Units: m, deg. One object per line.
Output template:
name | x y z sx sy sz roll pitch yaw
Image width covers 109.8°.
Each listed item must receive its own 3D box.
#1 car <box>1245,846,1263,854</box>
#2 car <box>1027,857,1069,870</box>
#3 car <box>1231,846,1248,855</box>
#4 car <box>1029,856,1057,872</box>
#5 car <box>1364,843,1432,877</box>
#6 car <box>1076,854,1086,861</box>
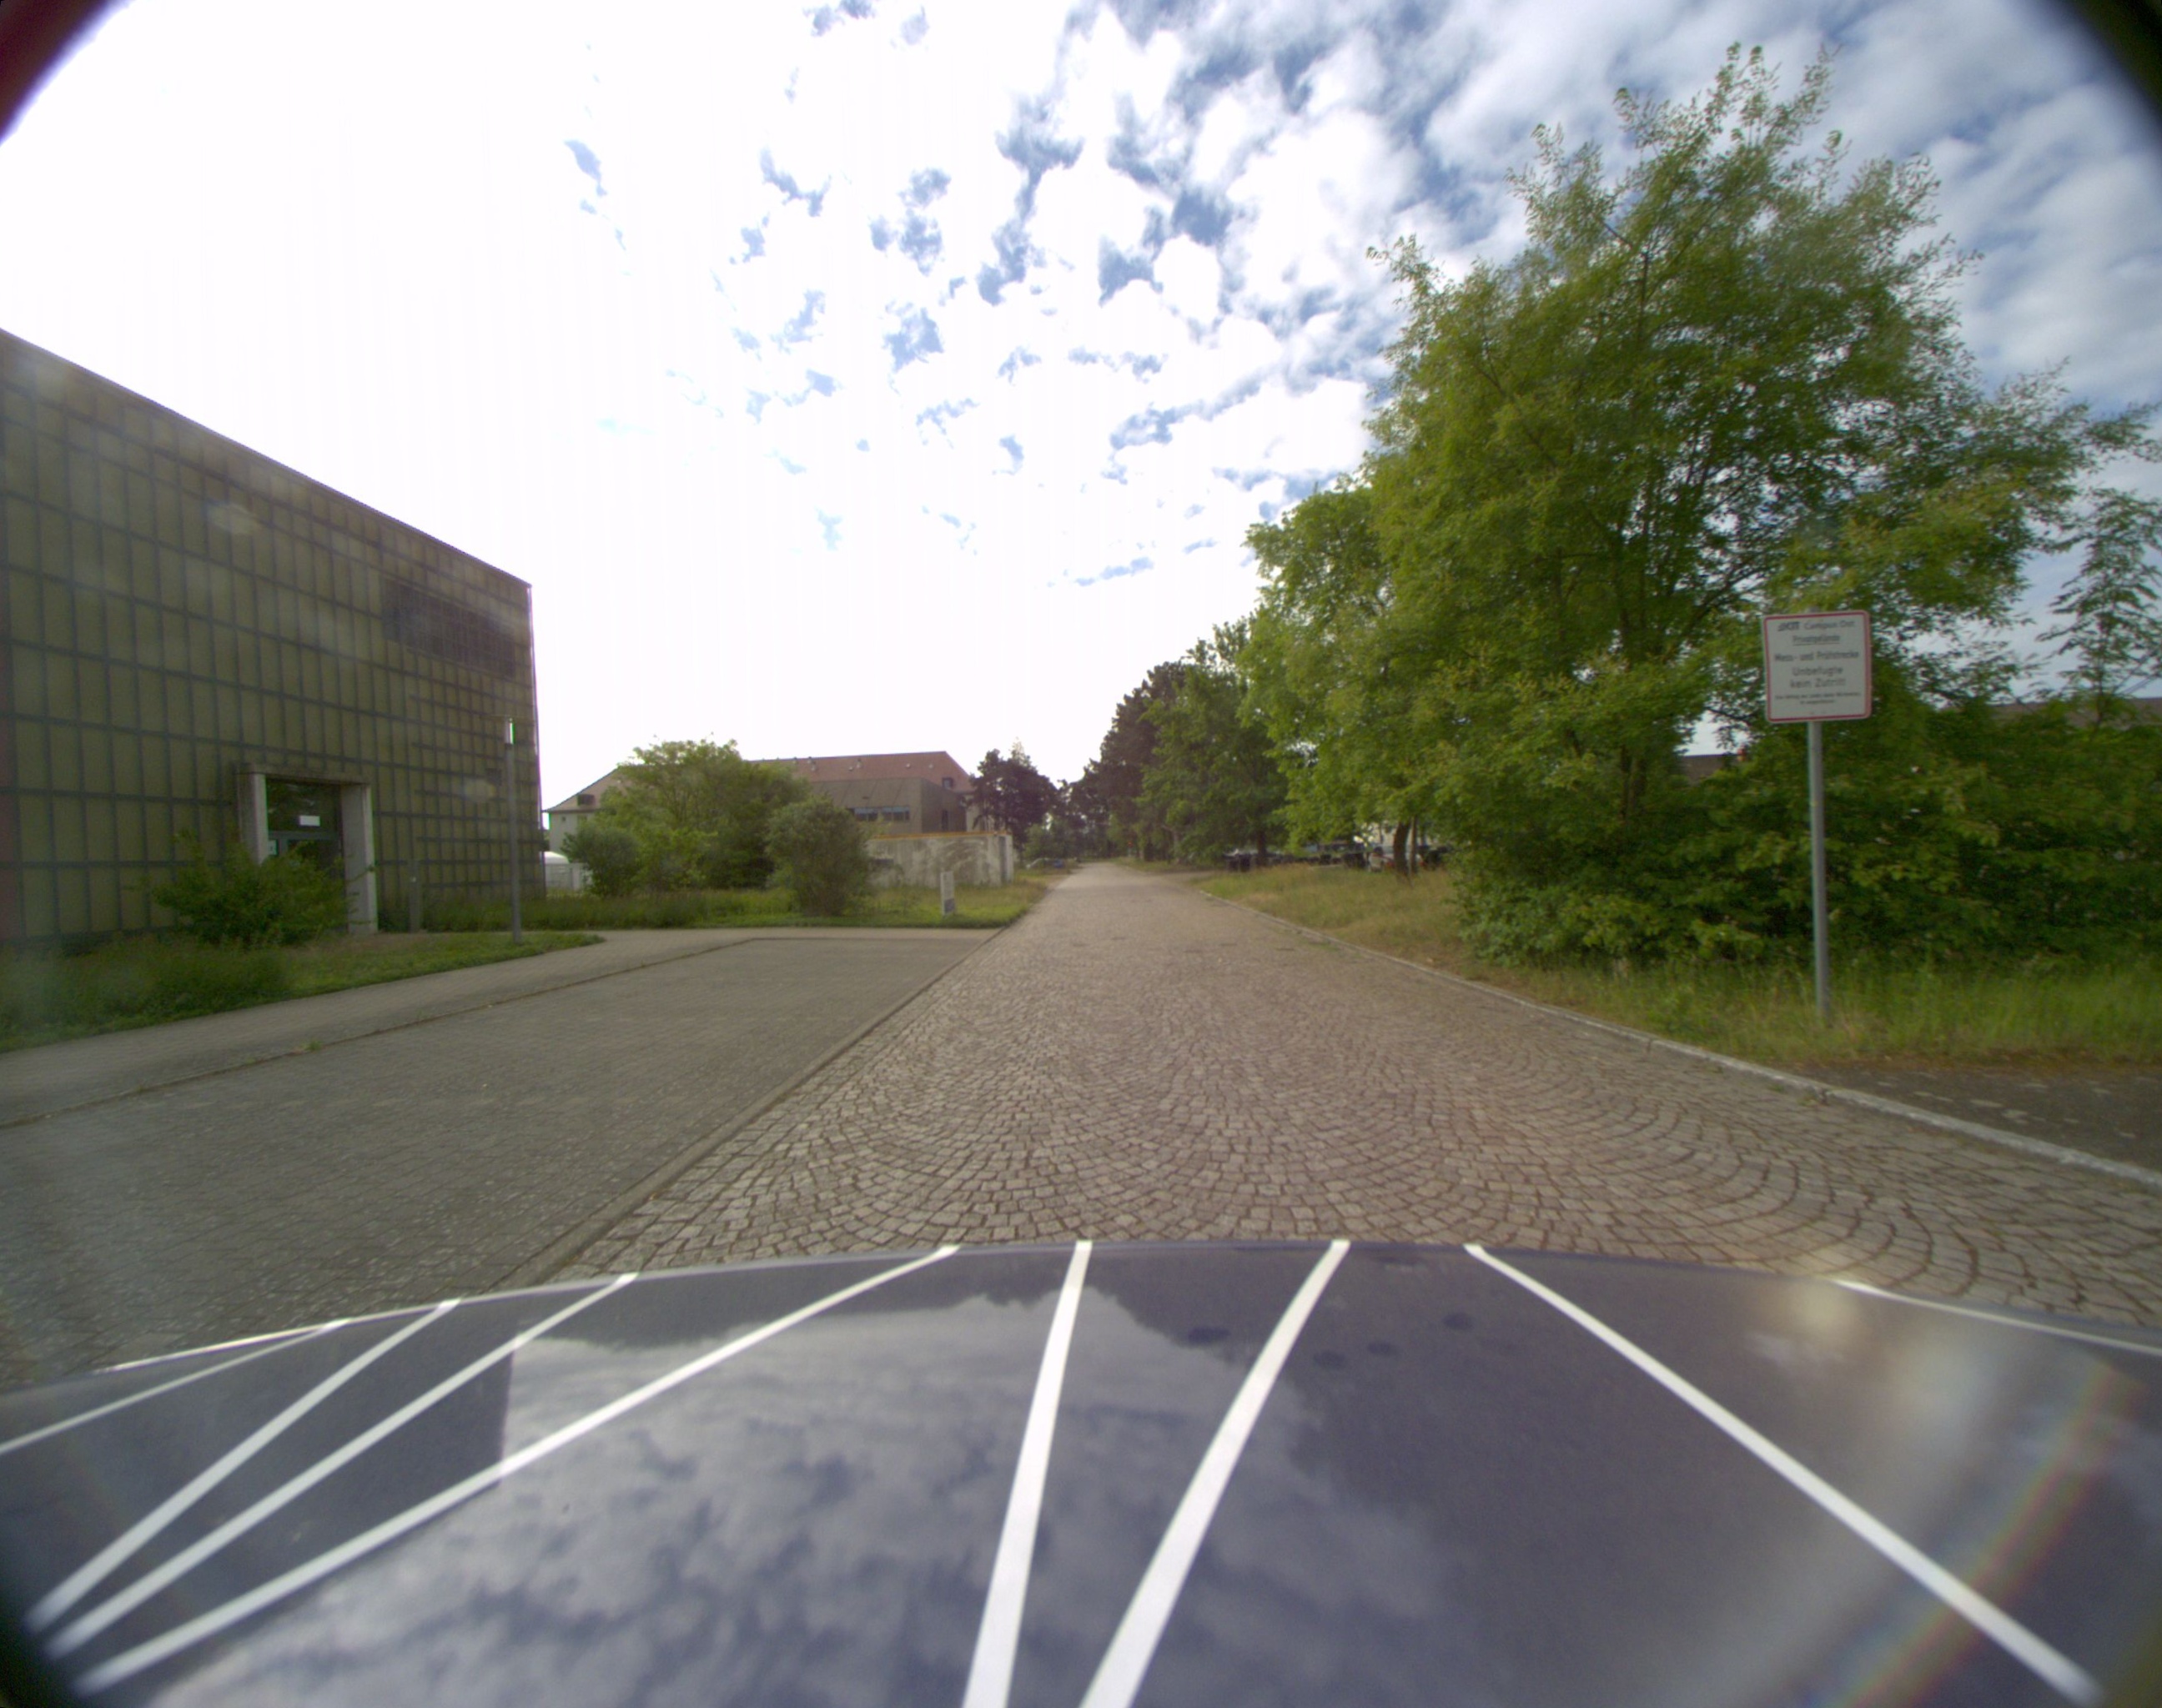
car | 31.014 -0.699 136.486 1.999 1.441 4.452 -3 0 -2
car | -3.655 1.036 84.799 4.536 1.441 1.932 0 0 -1
car | 28.433 -0.564 136.441 1.999 1.441 4.452 -3 0 -2
car | -3.845 1.035 77.512 2.748 1.573 1.683 0 0 1
car | 14.699 0.238 35.440 1.827 1.423 4.221 -3 0 7
car | -0.009 0.939 200.304 1.999 1.777 3.998 -3 0 -5
